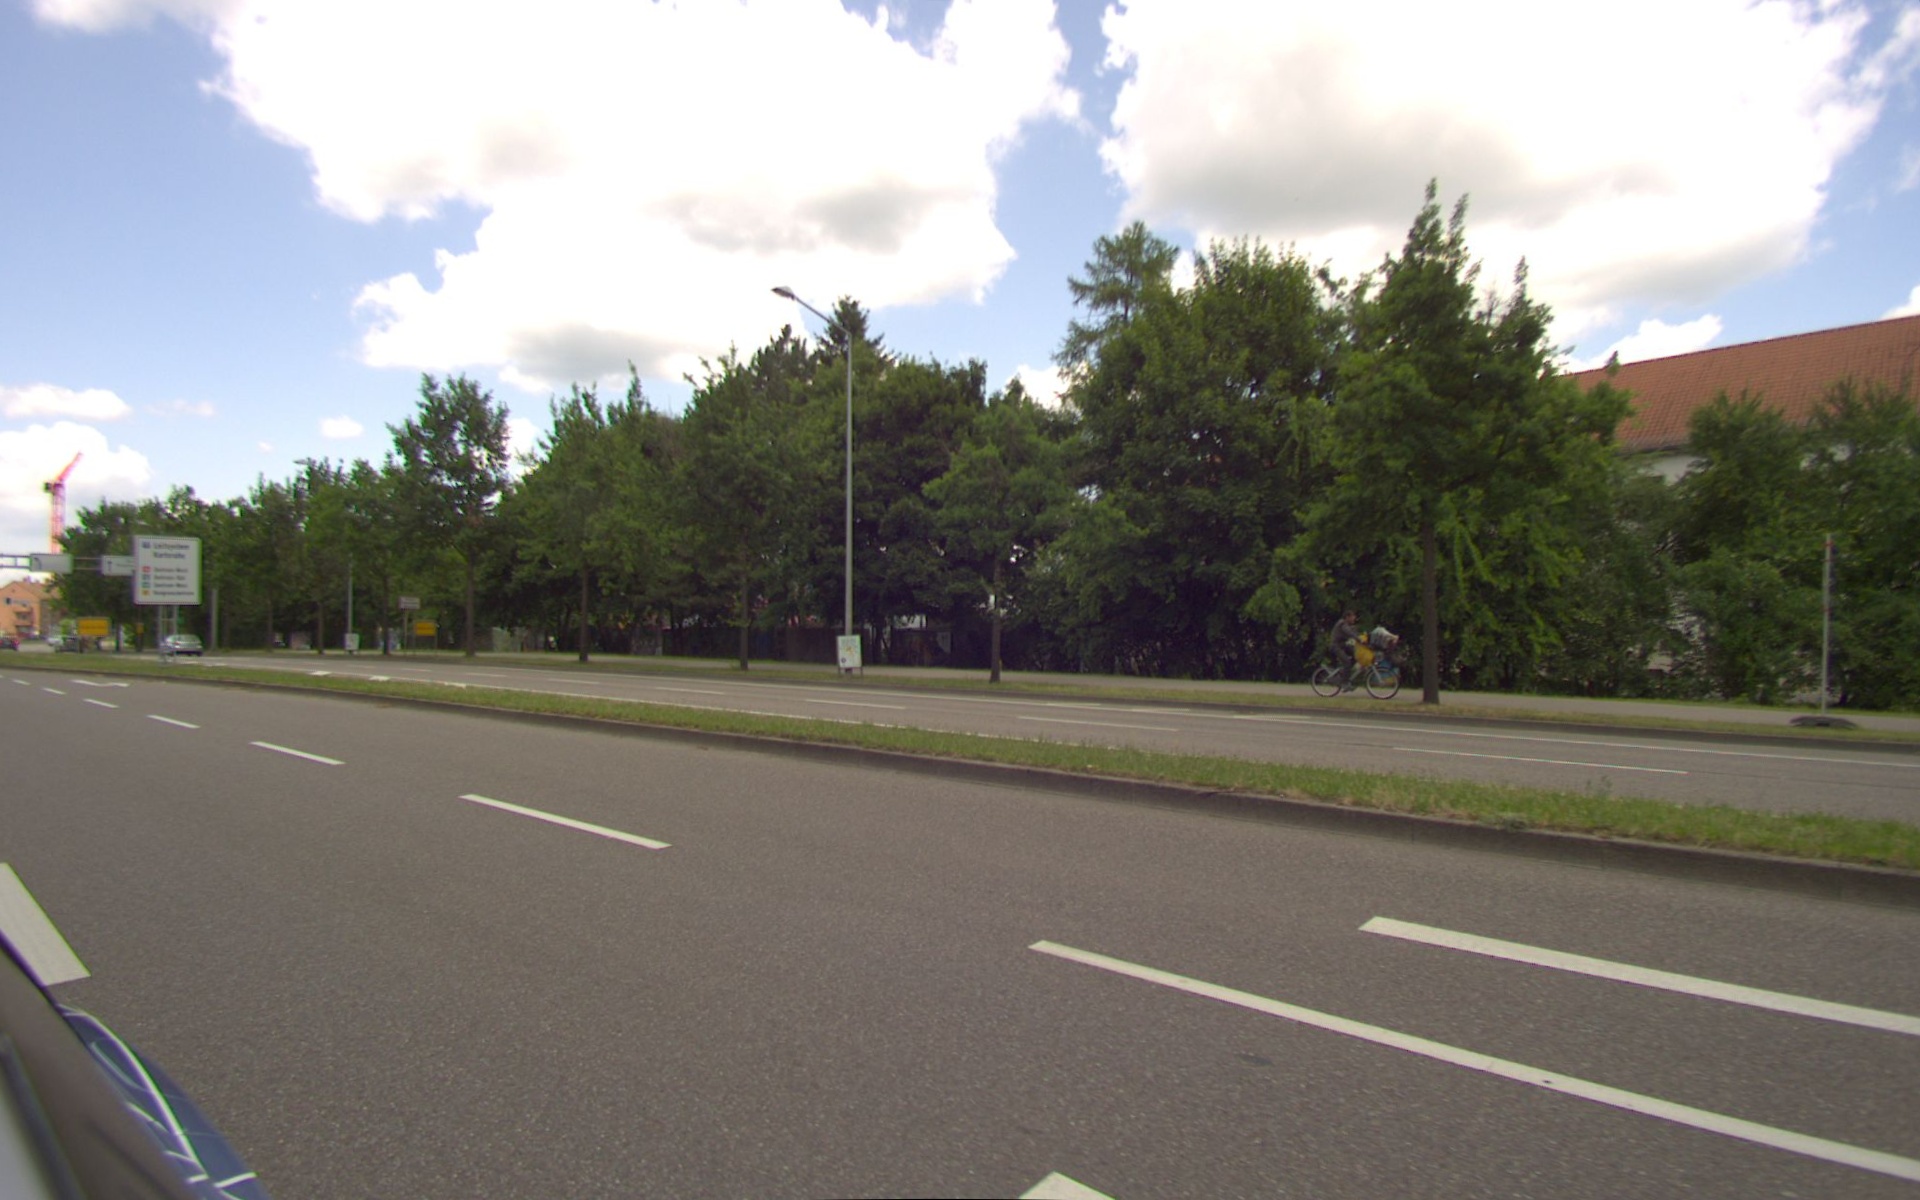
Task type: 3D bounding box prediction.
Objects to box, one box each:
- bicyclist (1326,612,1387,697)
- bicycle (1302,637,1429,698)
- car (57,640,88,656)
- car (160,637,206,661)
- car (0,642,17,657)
[{"bbox_3d":[8.054,1.090,20.539,0.979,1.671,0.731,-2,-3,37],"label":"bicyclist"},{"bbox_3d":[8.167,1.328,20.440,2.254,1.170,0.743,-2,-3,38],"label":"bicycle"},{"bbox_3d":[-84.012,4.534,95.771,4.071,1.507,1.690,-2,-3,42],"label":"car"},{"bbox_3d":[-50.670,3.192,65.983,3.696,1.507,1.690,-2,-3,42],"label":"car"},{"bbox_3d":[-103.635,5.339,109.713,4.071,1.507,1.690,-2,-3,42],"label":"car"}]
